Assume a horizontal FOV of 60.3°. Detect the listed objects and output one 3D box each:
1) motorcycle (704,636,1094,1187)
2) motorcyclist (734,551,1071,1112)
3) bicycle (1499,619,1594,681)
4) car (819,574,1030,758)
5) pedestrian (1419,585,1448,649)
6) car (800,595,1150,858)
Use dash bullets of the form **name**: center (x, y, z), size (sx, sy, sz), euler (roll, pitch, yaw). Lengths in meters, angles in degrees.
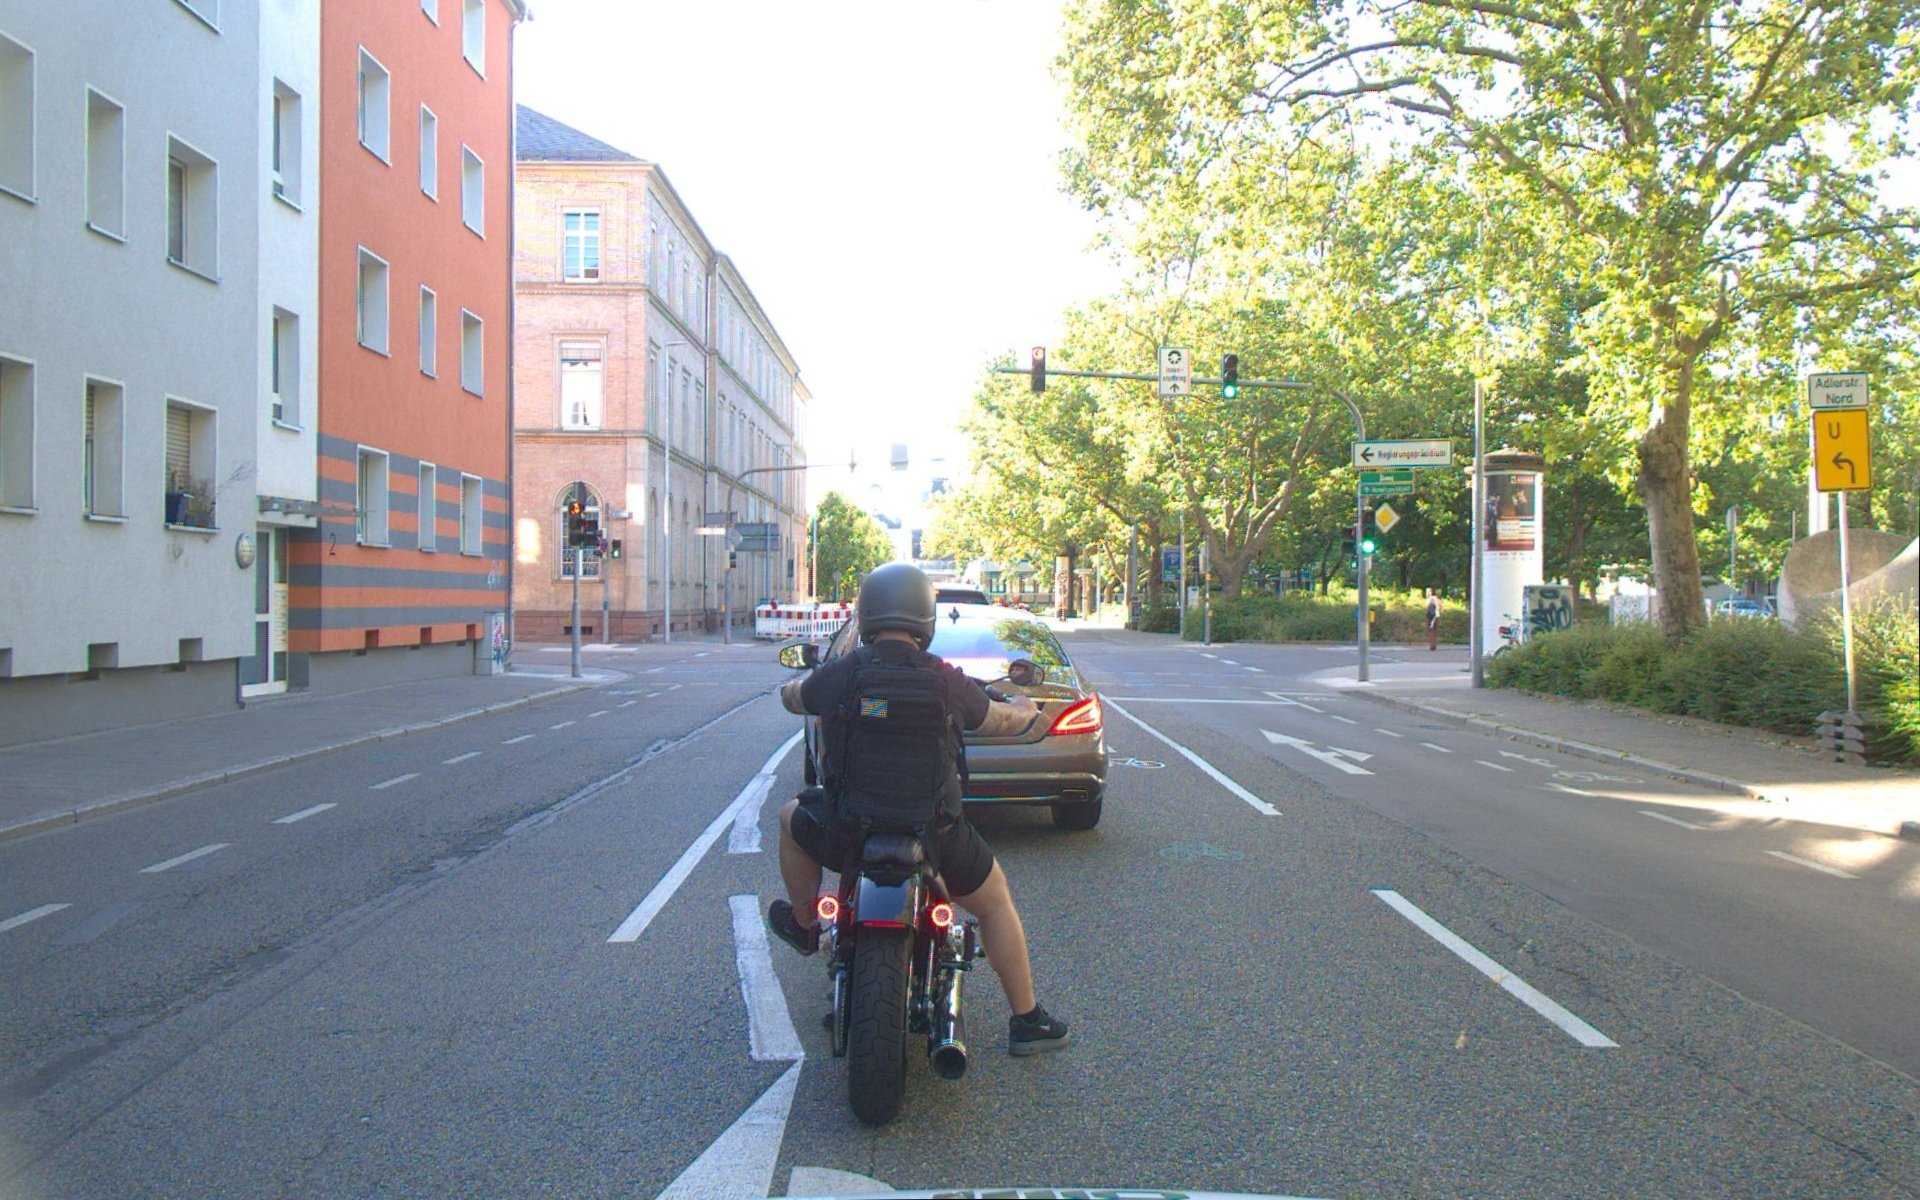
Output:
- **motorcycle**: center (-0.167, 0.795, 5.293), size (0.961, 1.297, 2.407), euler (0, 0, -1)
- **motorcyclist**: center (-0.173, 0.661, 5.367), size (0.961, 1.606, 1.248), euler (0, 0, -1)
- **bicycle**: center (9.790, 0.836, 27.605), size (1.452, 0.997, 0.299), euler (1, -1, 5)
- **car**: center (-0.360, 0.629, 17.549), size (1.953, 1.695, 3.999), euler (1, 0, -1)
- **pedestrian**: center (13.483, 0.482, 47.123), size (0.664, 1.803, 0.616), euler (1, -1, 29)
- **car**: center (-0.112, 0.706, 11.630), size (1.834, 1.469, 4.422), euler (0, 0, -8)
